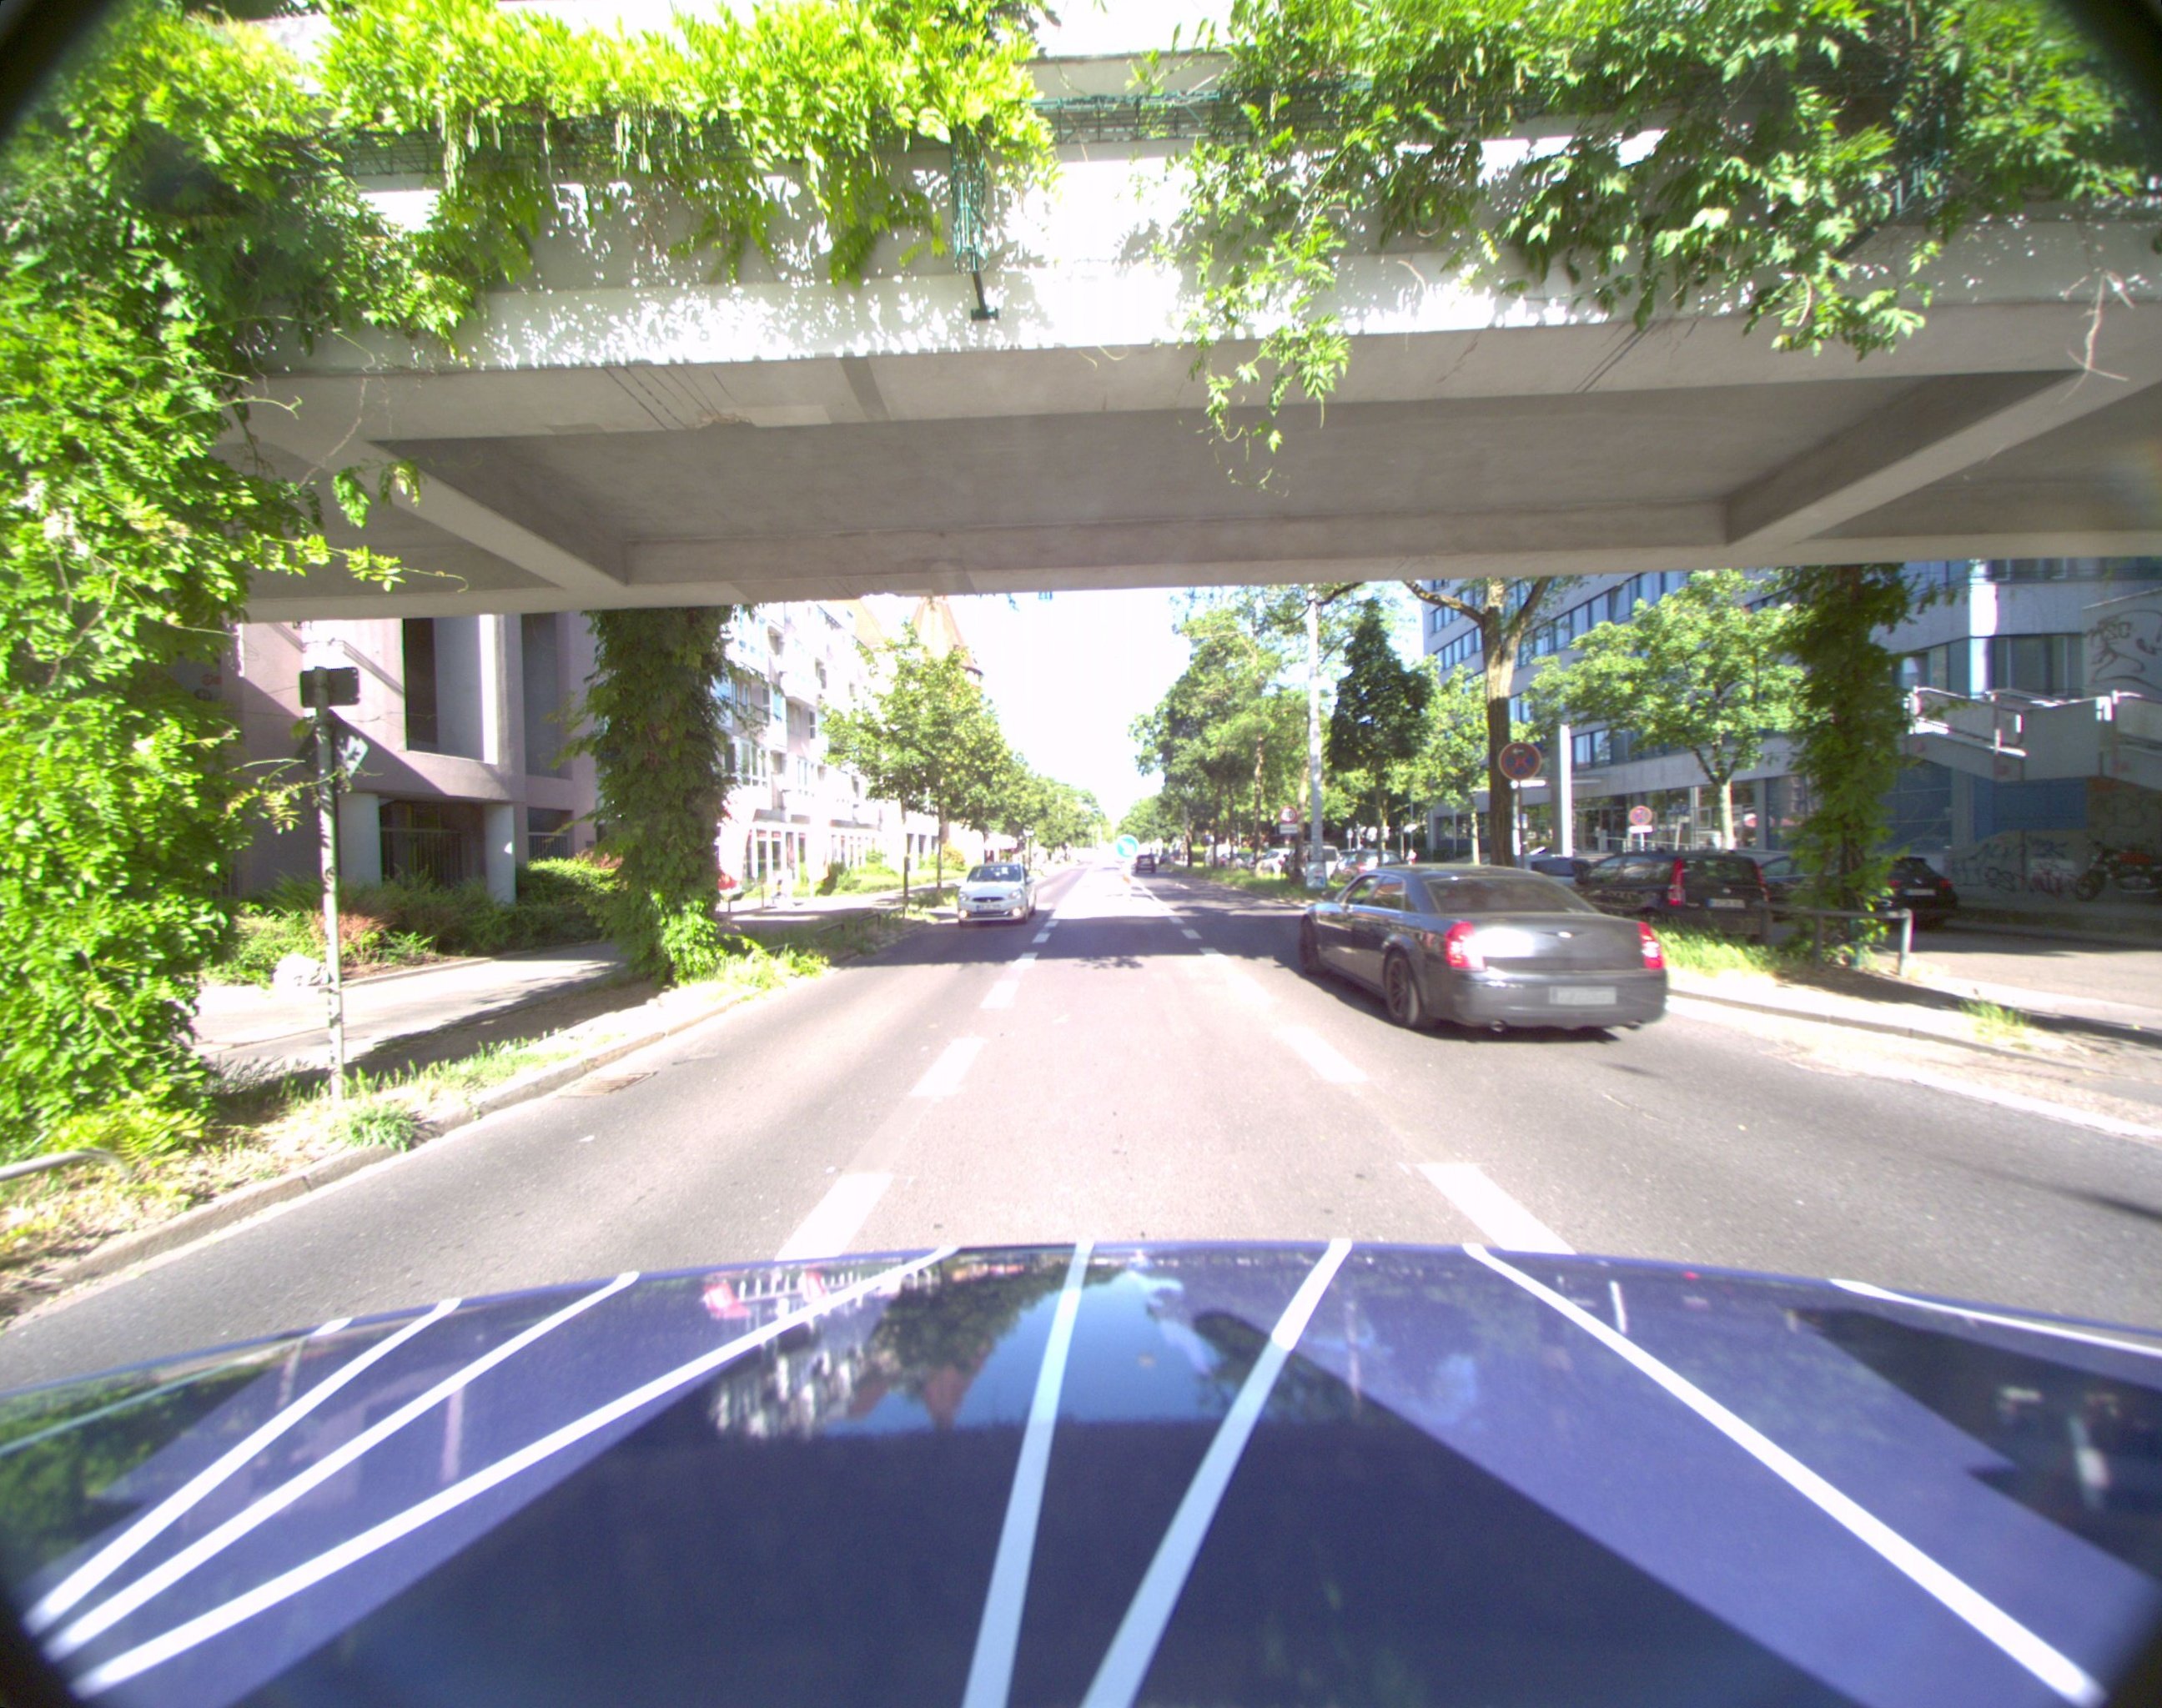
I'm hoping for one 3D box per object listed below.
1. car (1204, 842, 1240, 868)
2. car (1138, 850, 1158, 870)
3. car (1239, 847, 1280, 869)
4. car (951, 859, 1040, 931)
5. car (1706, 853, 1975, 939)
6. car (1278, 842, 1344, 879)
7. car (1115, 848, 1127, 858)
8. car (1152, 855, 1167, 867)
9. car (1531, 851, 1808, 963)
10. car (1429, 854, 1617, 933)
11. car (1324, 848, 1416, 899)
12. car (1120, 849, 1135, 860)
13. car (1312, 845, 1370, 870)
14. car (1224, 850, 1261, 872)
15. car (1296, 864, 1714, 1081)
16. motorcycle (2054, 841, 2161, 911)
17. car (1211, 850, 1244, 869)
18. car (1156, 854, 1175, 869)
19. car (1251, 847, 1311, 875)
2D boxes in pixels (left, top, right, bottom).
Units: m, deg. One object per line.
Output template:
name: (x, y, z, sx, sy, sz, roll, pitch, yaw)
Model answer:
car: (11.347, 0.057, 61.229, 2.070, 1.898, 4.525, -1, 1, 1)
car: (5.254, 0.487, 59.943, 1.470, 1.518, 2.817, -1, 1, 3)
car: (10.554, 0.210, 45.135, 1.655, 1.219, 3.847, -1, 1, 3)
car: (-2.046, 0.945, 19.268, 1.663, 1.521, 4.099, -1, 1, 1)
car: (15.579, 0.775, 15.946, 1.736, 1.521, 4.000, -1, 1, 2)
car: (10.320, 0.250, 34.379, 1.734, 1.540, 4.448, -1, 1, 1)
car: (6.464, -0.114, 124.487, 1.792, 1.575, 4.188, -1, 1, 1)
car: (9.693, 0.859, 93.942, 1.605, 1.406, 4.000, -1, 1, 2)
car: (9.493, 0.744, 12.712, 1.744, 1.529, 3.779, 1, 1, 2)
car: (9.607, 0.781, 16.964, 1.656, 1.440, 4.282, 2, 1, 0)
car: (9.979, 0.610, 26.522, 1.777, 1.637, 4.083, -1, 1, 2)
car: (5.893, 0.027, 96.572, 1.792, 1.414, 4.188, 0, 1, 2)
car: (20.506, 0.269, 60.127, 3.995, 1.704, 1.706, -4, 1, 7)
car: (10.732, 0.445, 50.652, 1.656, 1.336, 3.969, -1, 1, 0)
car: (3.691, 0.895, 7.770, 1.870, 1.450, 4.593, -1, 1, 2)
motorcycle: (19.914, 0.389, 14.237, 0.731, 1.263, 2.053, -1, 1, 1)
car: (10.697, 0.363, 55.756, 1.679, 1.325, 4.188, -1, 1, 2)
car: (9.208, 0.783, 82.785, 1.740, 1.481, 4.000, -1, 1, 2)
car: (10.604, 0.355, 40.578, 1.721, 1.375, 4.490, -1, 1, -4)
